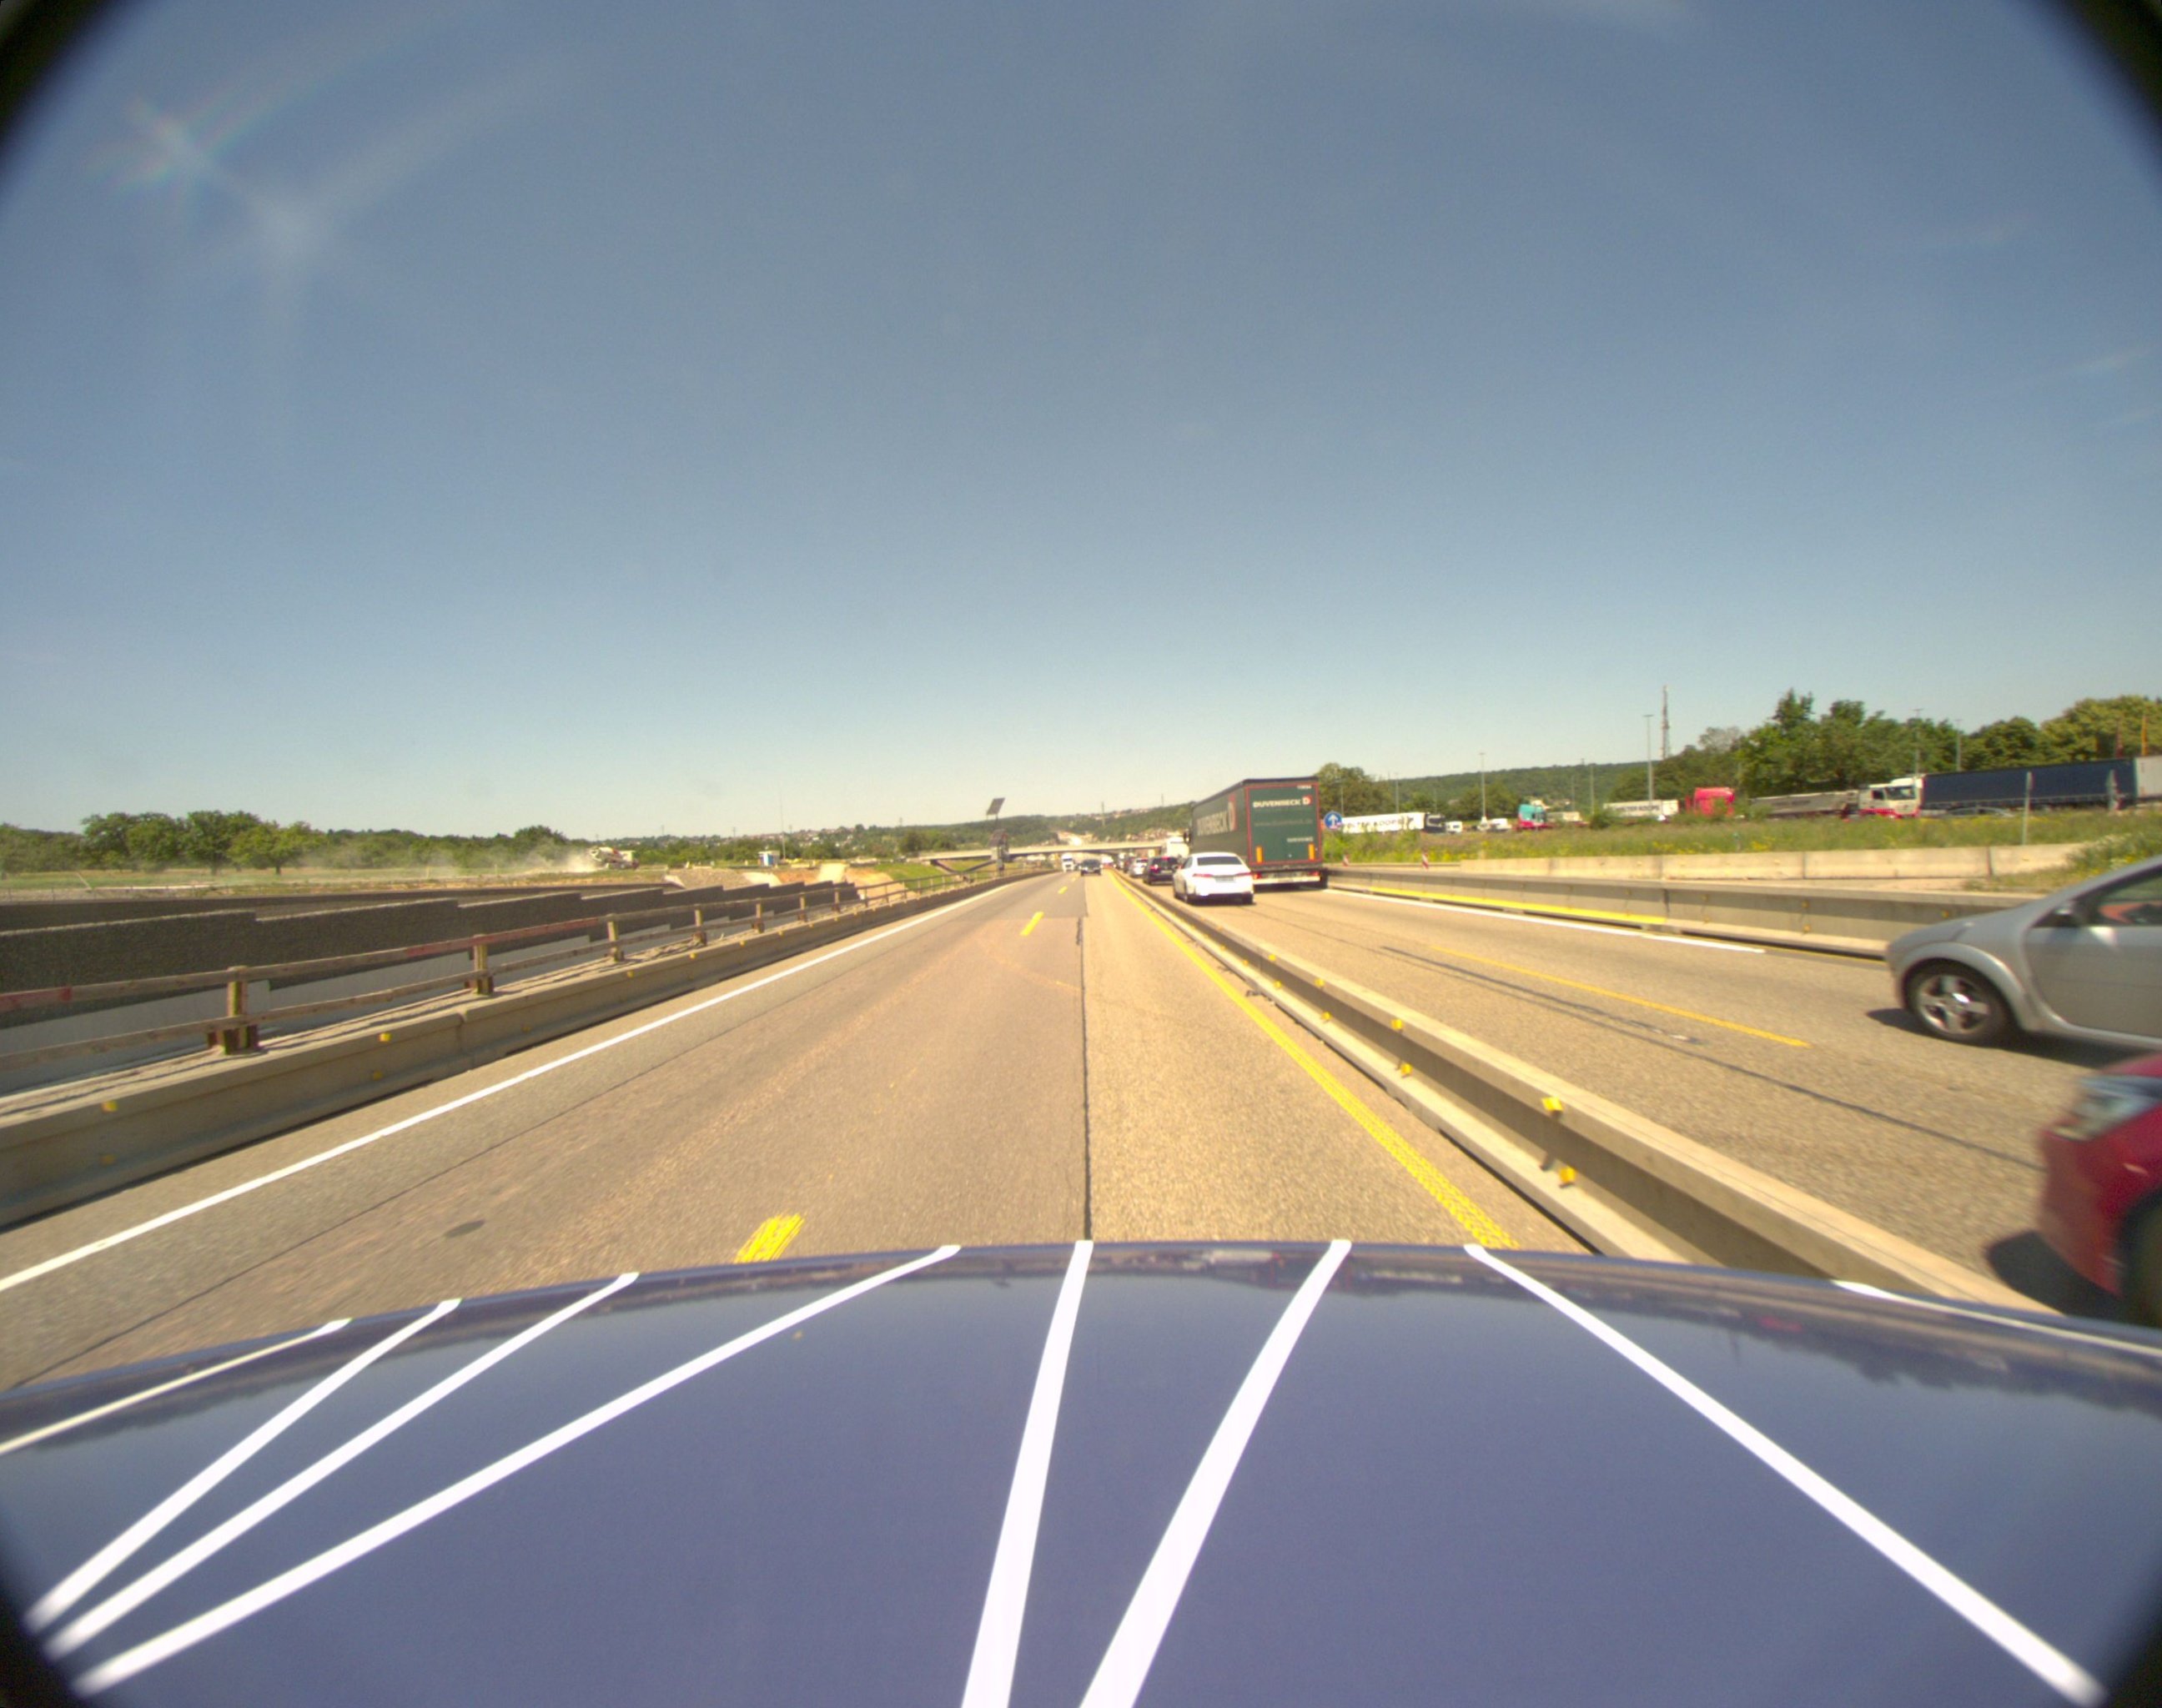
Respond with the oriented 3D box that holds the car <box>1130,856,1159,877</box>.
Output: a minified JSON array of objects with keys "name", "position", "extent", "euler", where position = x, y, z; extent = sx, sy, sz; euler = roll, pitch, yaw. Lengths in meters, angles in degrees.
[{"name":"car","position":[4.341,0.859,52.495],"extent":[1.714,1.344,3.890],"euler":[-1,0,0]}]

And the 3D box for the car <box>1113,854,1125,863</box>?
[{"name":"car","position":[5.774,0.709,114.772],"extent":[1.651,1.359,3.945],"euler":[-1,0,0]}]

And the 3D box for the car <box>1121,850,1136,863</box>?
[{"name":"car","position":[8.832,0.432,141.832],"extent":[2.416,2.106,5.315],"euler":[-3,0,0]}]

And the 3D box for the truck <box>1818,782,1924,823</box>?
[{"name":"truck","position":[62.349,-4.010,60.143],"extent":[2.275,2.752,5.630],"euler":[-4,0,-2]}]

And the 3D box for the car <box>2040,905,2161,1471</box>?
[{"name":"car","position":[3.584,0.851,0.178],"extent":[1.653,1.426,3.999],"euler":[-2,0,0]}]

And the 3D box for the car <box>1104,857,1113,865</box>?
[{"name":"car","position":[5.783,1.521,161.484],"extent":[1.723,1.582,3.797],"euler":[-3,0,1]}]

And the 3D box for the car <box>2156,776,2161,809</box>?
[{"name":"car","position":[75.807,-4.323,50.459],"extent":[2.003,2.240,5.014],"euler":[-4,0,-34]}]

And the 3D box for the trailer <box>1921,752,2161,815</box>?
[{"name":"trailer","position":[75.957,-5.361,60.565],"extent":[3.030,3.601,13.432],"euler":[-3,0,0]}]

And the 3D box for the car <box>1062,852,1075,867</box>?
[{"name":"car","position":[-2.780,1.304,170.428],"extent":[2.544,3.126,7.547],"euler":[-3,0,1]}]

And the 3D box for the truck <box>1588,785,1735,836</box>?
[{"name":"truck","position":[51.219,-3.713,67.408],"extent":[2.004,3.755,10.066],"euler":[-3,1,-45]}]

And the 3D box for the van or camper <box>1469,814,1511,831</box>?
[{"name":"van or camper","position":[75.452,-5.729,140.408],"extent":[2.761,2.718,8.594],"euler":[-2,0,-3]}]

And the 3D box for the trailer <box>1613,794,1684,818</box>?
[{"name":"trailer","position":[96.205,-8.025,129.143],"extent":[2.952,3.360,11.704],"euler":[-3,0,-2]}]

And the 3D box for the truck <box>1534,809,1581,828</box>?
[{"name":"truck","position":[75.669,-5.560,120.912],"extent":[2.548,2.589,7.778],"euler":[-3,0,1]}]

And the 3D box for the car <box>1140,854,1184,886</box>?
[{"name":"car","position":[4.002,0.774,38.127],"extent":[1.771,1.465,4.227],"euler":[-2,0,0]}]

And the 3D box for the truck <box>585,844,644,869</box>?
[{"name":"truck","position":[-72.605,0.356,118.418],"extent":[3.155,3.445,8.758],"euler":[-3,0,3]}]

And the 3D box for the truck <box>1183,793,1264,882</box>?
[{"name":"truck","position":[7.306,-0.787,39.863],"extent":[3.014,4.178,6.283],"euler":[-2,0,1]}]

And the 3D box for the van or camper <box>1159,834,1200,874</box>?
[{"name":"van or camper","position":[7.796,-0.038,60.856],"extent":[2.442,2.900,7.824],"euler":[-2,0,2]}]

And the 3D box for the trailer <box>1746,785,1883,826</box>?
[{"name":"trailer","position":[62.144,-4.016,64.827],"extent":[2.260,2.752,9.394],"euler":[-4,0,-2]}]

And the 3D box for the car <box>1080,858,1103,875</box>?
[{"name":"car","position":[0.875,1.015,63.144],"extent":[1.810,1.299,4.000],"euler":[-2,0,1]}]

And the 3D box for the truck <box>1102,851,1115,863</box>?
[{"name":"truck","position":[7.694,0.748,209.399],"extent":[3.397,2.939,6.085],"euler":[-3,0,2]}]

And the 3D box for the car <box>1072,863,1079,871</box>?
[{"name":"car","position":[-1.430,3.484,208.461],"extent":[1.739,2.002,3.876],"euler":[-3,0,1]}]

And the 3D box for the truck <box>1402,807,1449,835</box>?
[{"name":"truck","position":[52.368,-4.979,115.690],"extent":[5.724,3.597,2.585],"euler":[-5,1,41]}]

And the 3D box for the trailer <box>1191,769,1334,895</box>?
[{"name":"trailer","position":[7.187,-0.752,32.815],"extent":[3.014,4.174,13.851],"euler":[-2,0,1]}]

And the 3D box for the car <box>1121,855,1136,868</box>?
[{"name":"car","position":[5.659,0.909,91.308],"extent":[1.651,1.563,3.945],"euler":[-1,0,2]}]

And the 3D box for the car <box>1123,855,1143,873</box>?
[{"name":"car","position":[4.723,0.877,69.510],"extent":[1.651,1.592,4.491],"euler":[-2,0,2]}]

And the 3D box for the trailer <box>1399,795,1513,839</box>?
[{"name":"trailer","position":[46.947,-4.577,95.622],"extent":[12.348,4.142,2.865],"euler":[-5,1,45]}]

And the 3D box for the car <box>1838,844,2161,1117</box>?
[{"name":"car","position":[6.760,0.696,4.038],"extent":[1.627,1.439,3.785],"euler":[-3,0,-1]}]

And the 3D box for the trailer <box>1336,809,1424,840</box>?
[{"name":"trailer","position":[47.222,-4.611,120.636],"extent":[12.721,3.762,2.625],"euler":[-5,1,45]}]

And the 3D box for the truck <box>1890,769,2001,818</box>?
[{"name":"truck","position":[75.943,-5.238,66.945],"extent":[2.872,3.601,5.960],"euler":[-3,0,0]}]

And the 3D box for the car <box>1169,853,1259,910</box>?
[{"name":"car","position":[3.914,0.747,23.165],"extent":[1.901,1.484,4.760],"euler":[-2,0,0]}]

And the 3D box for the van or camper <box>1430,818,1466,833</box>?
[{"name":"van or camper","position":[75.420,-5.780,156.419],"extent":[2.761,2.718,8.594],"euler":[-2,0,-3]}]

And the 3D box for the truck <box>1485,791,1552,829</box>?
[{"name":"truck","position":[52.065,-5.220,90.470],"extent":[6.131,3.728,2.838],"euler":[-5,1,45]}]

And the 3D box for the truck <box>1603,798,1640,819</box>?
[{"name":"truck","position":[96.040,-8.037,135.061],"extent":[2.901,3.338,4.906],"euler":[-4,0,-2]}]

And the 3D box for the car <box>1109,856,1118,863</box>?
[{"name":"car","position":[6.084,1.054,142.395],"extent":[1.651,1.359,3.945],"euler":[-1,0,0]}]
